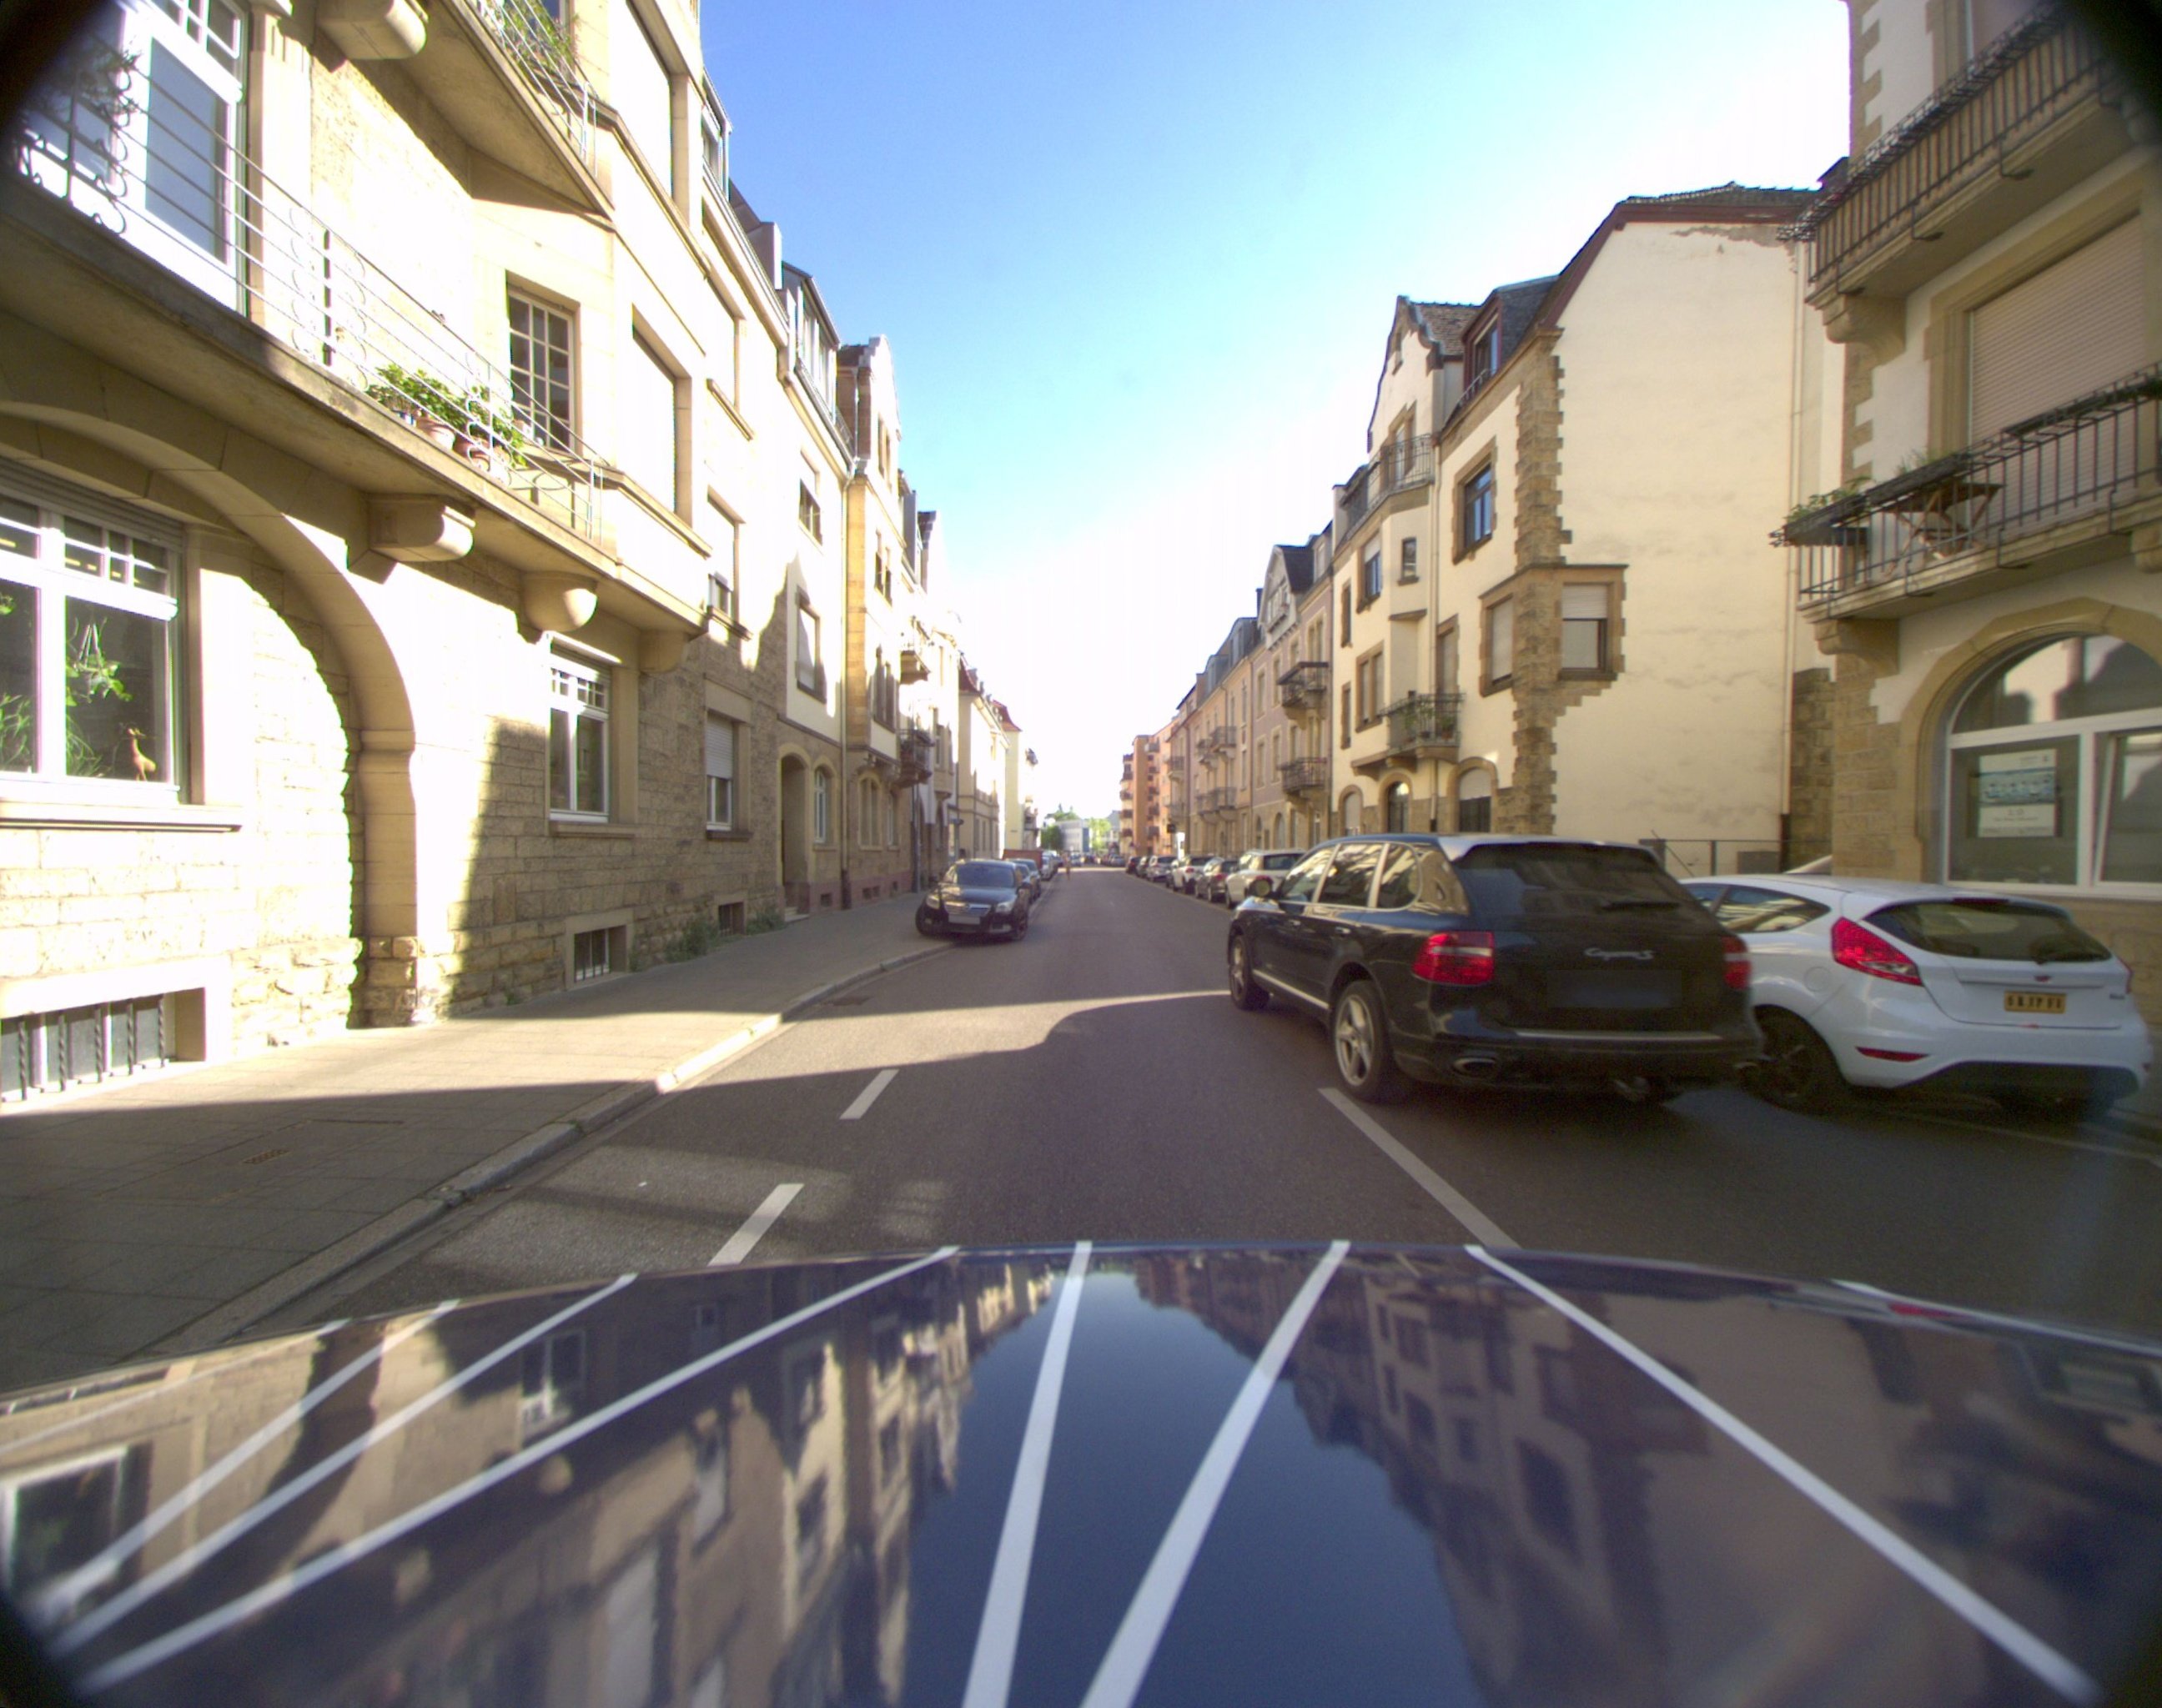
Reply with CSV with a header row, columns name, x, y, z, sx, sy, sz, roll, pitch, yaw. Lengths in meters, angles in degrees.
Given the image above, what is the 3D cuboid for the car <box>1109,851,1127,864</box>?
name,x,y,z,sx,sy,sz,roll,pitch,yaw
car,4.629,0.400,96.192,2.005,1.500,4.320,1,1,-1

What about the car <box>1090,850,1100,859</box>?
name,x,y,z,sx,sy,sz,roll,pitch,yaw
car,2.434,0.098,130.372,1.656,1.449,3.642,0,1,-1

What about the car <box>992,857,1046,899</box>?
name,x,y,z,sx,sy,sz,roll,pitch,yaw
car,-2.382,0.895,30.107,1.824,1.415,4.320,1,1,-1

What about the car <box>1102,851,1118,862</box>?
name,x,y,z,sx,sy,sz,roll,pitch,yaw
car,4.119,0.296,107.238,2.005,1.500,4.320,1,1,-1

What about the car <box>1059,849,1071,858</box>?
name,x,y,z,sx,sy,sz,roll,pitch,yaw
car,-2.849,-0.059,136.643,2.005,1.500,4.320,1,1,-1

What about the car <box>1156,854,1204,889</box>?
name,x,y,z,sx,sy,sz,roll,pitch,yaw
car,4.859,0.823,37.793,1.857,1.491,4.318,-2,1,1

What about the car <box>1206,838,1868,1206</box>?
name,x,y,z,sx,sy,sz,roll,pitch,yaw
car,2.543,0.806,5.898,2.078,1.684,4.707,2,0,-3

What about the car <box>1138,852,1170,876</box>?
name,x,y,z,sx,sy,sz,roll,pitch,yaw
car,4.996,0.675,52.337,1.809,1.500,4.003,-2,1,1

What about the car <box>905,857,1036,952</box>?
name,x,y,z,sx,sy,sz,roll,pitch,yaw
car,-2.035,0.886,15.231,2.024,1.500,4.111,2,1,-1

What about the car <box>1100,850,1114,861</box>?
name,x,y,z,sx,sy,sz,roll,pitch,yaw
car,3.966,0.196,116.746,2.005,1.500,4.320,1,1,-1

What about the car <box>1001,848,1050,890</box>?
name,x,y,z,sx,sy,sz,roll,pitch,yaw
car,-2.556,0.655,35.796,2.005,1.828,4.320,1,1,-1

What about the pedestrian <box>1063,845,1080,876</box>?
name,x,y,z,sx,sy,sz,roll,pitch,yaw
pedestrian,-0.626,0.408,49.451,0.952,2.002,1.066,-2,1,3

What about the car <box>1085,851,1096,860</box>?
name,x,y,z,sx,sy,sz,roll,pitch,yaw
car,1.559,0.240,120.237,1.656,1.449,3.642,0,1,-1

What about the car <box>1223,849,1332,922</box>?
name,x,y,z,sx,sy,sz,roll,pitch,yaw
car,5.198,0.756,20.694,1.890,1.717,4.211,-2,1,1

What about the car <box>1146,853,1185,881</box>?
name,x,y,z,sx,sy,sz,roll,pitch,yaw
car,5.025,0.739,45.818,1.890,1.500,4.320,-2,1,1

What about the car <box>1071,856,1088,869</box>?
name,x,y,z,sx,sy,sz,roll,pitch,yaw
car,-0.247,1.020,92.271,2.005,1.500,4.320,1,1,-1

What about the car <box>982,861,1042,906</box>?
name,x,y,z,sx,sy,sz,roll,pitch,yaw
car,-2.231,0.931,25.365,1.661,1.272,3.729,1,1,-1

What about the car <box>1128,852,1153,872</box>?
name,x,y,z,sx,sy,sz,roll,pitch,yaw
car,4.897,0.648,62.959,1.793,1.500,4.320,-2,1,1

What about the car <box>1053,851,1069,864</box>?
name,x,y,z,sx,sy,sz,roll,pitch,yaw
car,-2.576,0.439,99.939,2.005,1.500,4.320,1,1,-1

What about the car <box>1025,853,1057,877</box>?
name,x,y,z,sx,sy,sz,roll,pitch,yaw
car,-2.744,0.743,52.627,2.005,1.500,4.320,1,1,-1

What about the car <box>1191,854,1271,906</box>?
name,x,y,z,sx,sy,sz,roll,pitch,yaw
car,5.125,0.826,26.531,1.890,1.500,4.320,-4,1,1

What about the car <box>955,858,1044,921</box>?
name,x,y,z,sx,sy,sz,roll,pitch,yaw
car,-2.095,0.878,20.786,2.005,1.499,4.321,1,0,-1

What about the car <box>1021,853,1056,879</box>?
name,x,y,z,sx,sy,sz,roll,pitch,yaw
car,-2.649,0.723,47.854,2.005,1.500,4.320,1,1,-1

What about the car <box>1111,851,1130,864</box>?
name,x,y,z,sx,sy,sz,roll,pitch,yaw
car,4.679,0.416,91.378,2.005,1.500,4.320,1,1,-1

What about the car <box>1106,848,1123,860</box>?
name,x,y,z,sx,sy,sz,roll,pitch,yaw
car,4.525,0.011,101.944,2.005,1.500,4.320,1,1,-1

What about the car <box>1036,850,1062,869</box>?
name,x,y,z,sx,sy,sz,roll,pitch,yaw
car,-2.667,0.458,64.486,2.005,1.500,4.320,1,1,-1

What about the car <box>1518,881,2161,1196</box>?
name,x,y,z,sx,sy,sz,roll,pitch,yaw
car,5.113,1.012,5.685,1.656,1.449,3.602,2,0,2

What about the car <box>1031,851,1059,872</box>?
name,x,y,z,sx,sy,sz,roll,pitch,yaw
car,-2.740,0.542,58.652,2.005,1.500,4.320,1,1,-1

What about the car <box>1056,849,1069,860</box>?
name,x,y,z,sx,sy,sz,roll,pitch,yaw
car,-2.933,0.077,123.323,2.005,1.722,4.320,1,1,-1

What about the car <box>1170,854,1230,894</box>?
name,x,y,z,sx,sy,sz,roll,pitch,yaw
car,4.987,0.800,32.352,1.890,1.500,4.320,-2,1,1

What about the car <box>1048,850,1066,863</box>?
name,x,y,z,sx,sy,sz,roll,pitch,yaw
car,-2.838,0.274,88.966,2.005,1.500,4.320,1,1,-1
